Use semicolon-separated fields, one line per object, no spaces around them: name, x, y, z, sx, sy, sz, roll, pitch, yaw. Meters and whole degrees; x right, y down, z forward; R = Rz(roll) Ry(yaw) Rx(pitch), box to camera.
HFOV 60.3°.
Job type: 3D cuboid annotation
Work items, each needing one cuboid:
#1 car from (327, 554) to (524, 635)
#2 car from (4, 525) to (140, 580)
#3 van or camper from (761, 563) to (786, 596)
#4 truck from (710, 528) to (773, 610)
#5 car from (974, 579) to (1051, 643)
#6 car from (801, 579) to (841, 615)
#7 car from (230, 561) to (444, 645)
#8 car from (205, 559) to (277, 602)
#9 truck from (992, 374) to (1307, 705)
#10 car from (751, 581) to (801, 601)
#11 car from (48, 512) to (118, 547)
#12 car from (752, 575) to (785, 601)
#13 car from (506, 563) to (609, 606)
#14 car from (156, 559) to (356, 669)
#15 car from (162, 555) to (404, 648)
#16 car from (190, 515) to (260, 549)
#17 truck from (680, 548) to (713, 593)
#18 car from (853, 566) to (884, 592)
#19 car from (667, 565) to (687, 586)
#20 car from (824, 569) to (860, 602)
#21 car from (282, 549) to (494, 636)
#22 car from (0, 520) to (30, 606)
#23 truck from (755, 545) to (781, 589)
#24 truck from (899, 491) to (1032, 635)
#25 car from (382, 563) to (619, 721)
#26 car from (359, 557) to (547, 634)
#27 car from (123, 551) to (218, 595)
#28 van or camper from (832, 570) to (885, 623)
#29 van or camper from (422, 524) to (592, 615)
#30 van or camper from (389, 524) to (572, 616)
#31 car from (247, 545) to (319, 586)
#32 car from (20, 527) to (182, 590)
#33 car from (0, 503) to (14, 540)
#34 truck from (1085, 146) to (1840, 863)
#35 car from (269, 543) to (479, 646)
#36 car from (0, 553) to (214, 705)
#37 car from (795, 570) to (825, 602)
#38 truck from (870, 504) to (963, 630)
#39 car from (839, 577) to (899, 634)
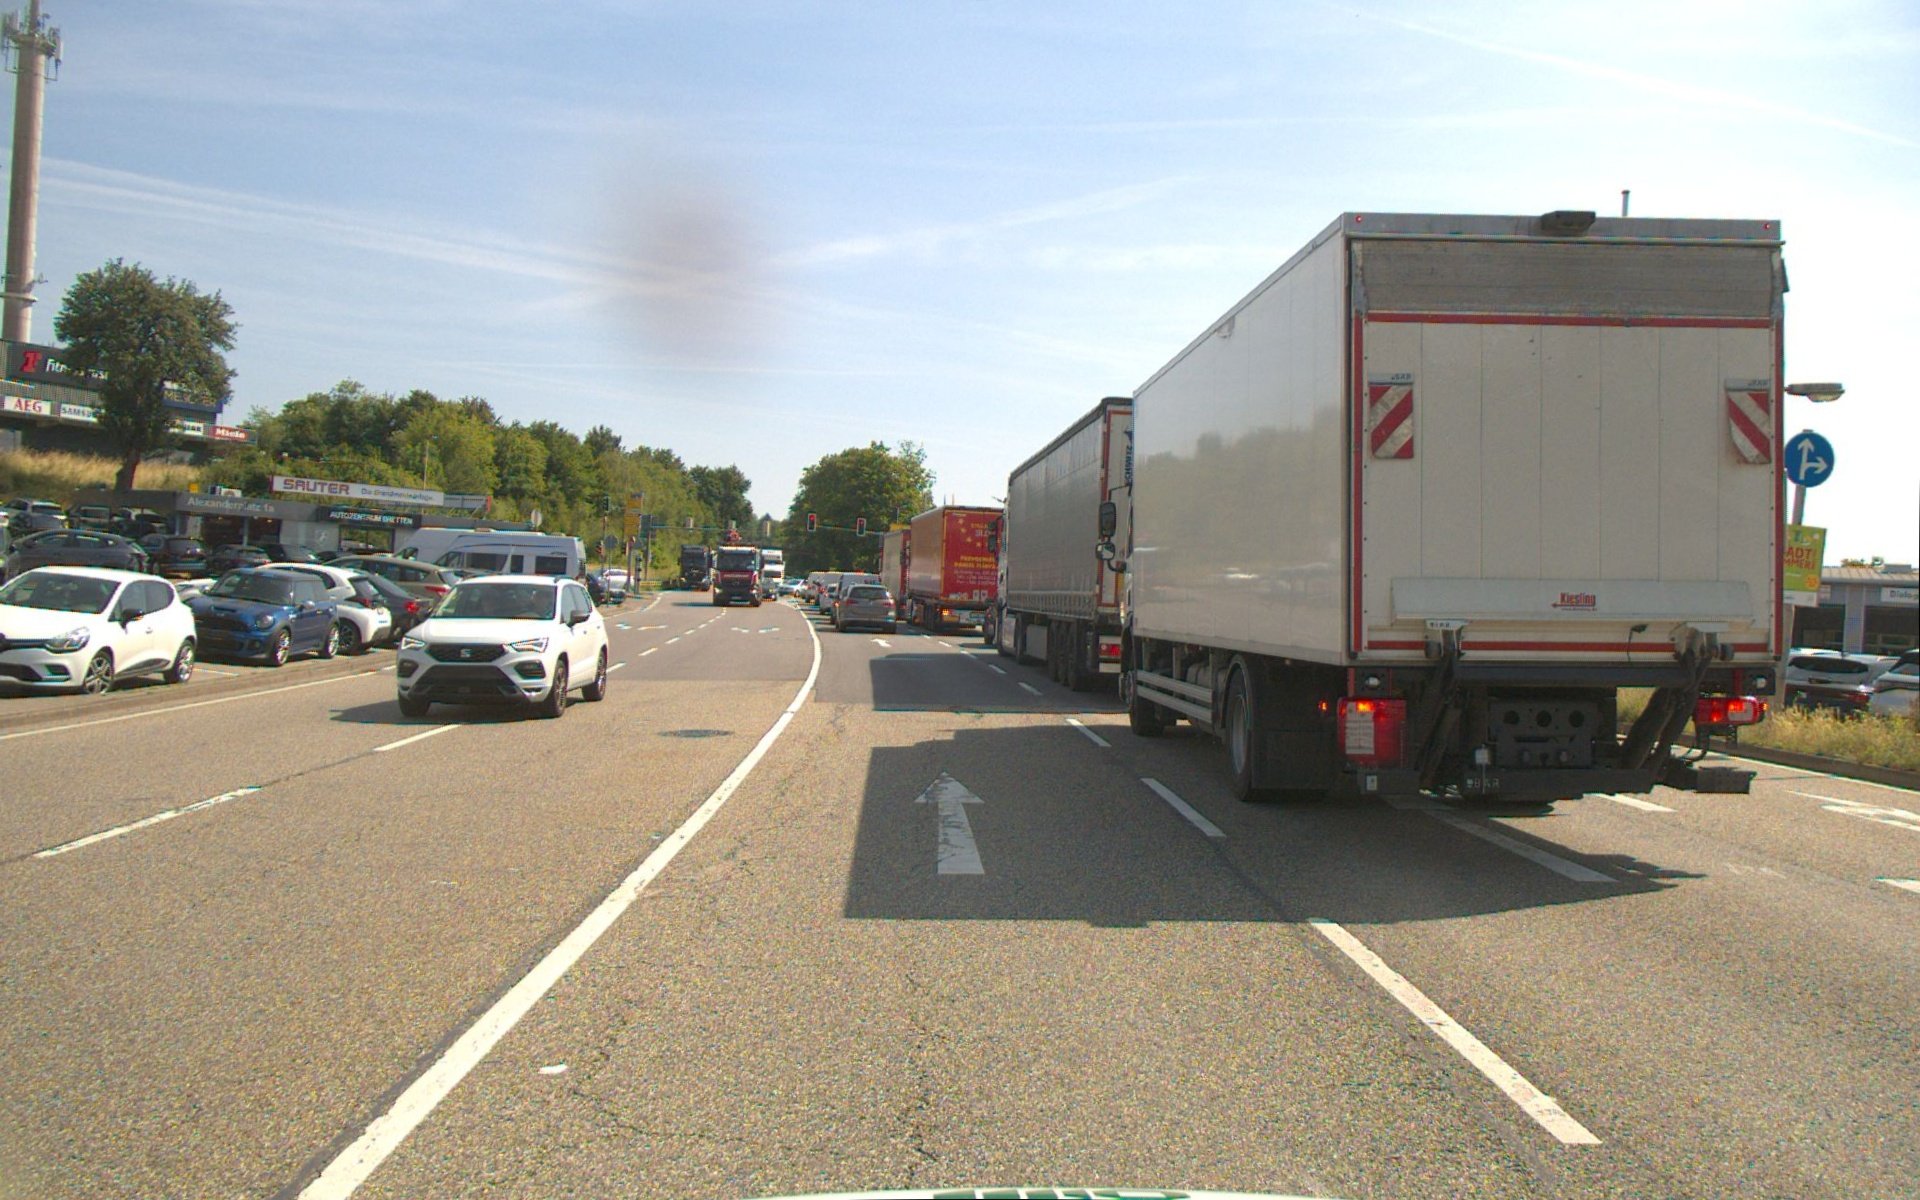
car;-13.126;-0.148;40.832;4.219;1.510;1.795;6;0;-7
car;-28.643;-1.524;53.428;3.774;1.616;1.752;2;0;-29
van or camper;-17.644;-1.918;156.882;2.181;2.890;5.703;3;0;-6
truck;-12.095;-1.705;92.249;2.898;4.282;10.637;0;1;-5
car;1.444;0.279;46.976;1.783;1.714;3.997;2;1;-4
car;-6.341;-0.125;75.040;1.693;1.545;3.308;3;0;-6
car;-12.397;0.055;33.101;3.637;1.552;1.789;2;0;-8
car;-29.244;-0.810;67.204;1.751;1.616;3.776;2;1;-39
truck;2.718;-0.869;30.576;2.833;4.340;16.698;2;0;-3
car;-14.662;-0.696;131.642;1.683;1.473;4.067;2;0;34
car;-40.637;-3.253;76.593;3.685;1.476;1.725;2;-1;44
car;-12.462;-0.796;107.768;1.770;1.587;4.385;2;1;-2
car;-16.078;-0.603;66.192;3.744;1.566;1.840;2;0;-7
car;-11.550;0.205;27.400;1.745;1.519;3.779;6;0;-4
car;-12.428;0.021;30.571;3.724;1.552;1.844;2;0;-8
car;-35.086;-3.262;78.912;3.685;1.476;1.725;2;-1;44
truck;-23.502;-2.615;147.168;2.761;3.852;6.974;1;1;-10
car;-5.783;-1.318;104.479;1.694;1.545;3.307;3;-1;-6
car;-30.219;-2.621;176.321;1.958;2.049;3.990;3;0;-11
car;-5.975;-0.727;83.803;1.693;1.545;3.309;3;0;-4
car;-13.113;-0.168;38.126;4.198;1.510;1.833;6;0;-8
car;-21.032;-0.859;35.316;1.803;1.703;4.085;8;-4;-30
truck;-19.792;-3.358;171.087;2.504;4.382;7.586;1;1;-6
truck;-0.140;-1.266;59.797;2.900;4.344;16.564;3;0;-6
car;-5.398;0.448;19.952;1.897;1.703;3.998;1;0;-3
car;-13.337;-0.121;43.700;4.376;1.510;1.769;6;0;-8
car;-31.489;-1.080;65.913;3.751;1.616;1.763;2;0;34
van or camper;-4.044;-0.161;65.578;1.817;1.939;3.779;3;0;-6
van or camper;-15.296;-1.020;56.092;5.143;2.779;2.208;2;0;-5
van or camper;-16.842;-1.056;58.373;5.778;2.923;2.287;3;1;-6
car;-28.261;-1.468;69.009;1.751;1.616;3.776;2;1;-39
car;-23.799;-1.129;45.898;3.894;1.559;1.752;2;0;-29
car;-43.749;-3.538;73.703;3.685;1.564;1.725;2;-1;44
truck;3.232;-0.558;14.766;2.821;3.877;11.136;2;0;-2
car;-12.523;-0.120;35.558;3.814;1.746;1.804;6;0;-8
car;-10.905;0.295;20.380;1.744;1.646;3.997;3;0;-4
car;-9.610;-0.886;106.025;1.692;1.942;3.310;3;0;-3
truck;-2.326;-1.531;80.265;3.003;5.311;16.986;3;0;-6
car;-2.795;0.151;51.331;1.754;1.667;3.502;2;0;-3
